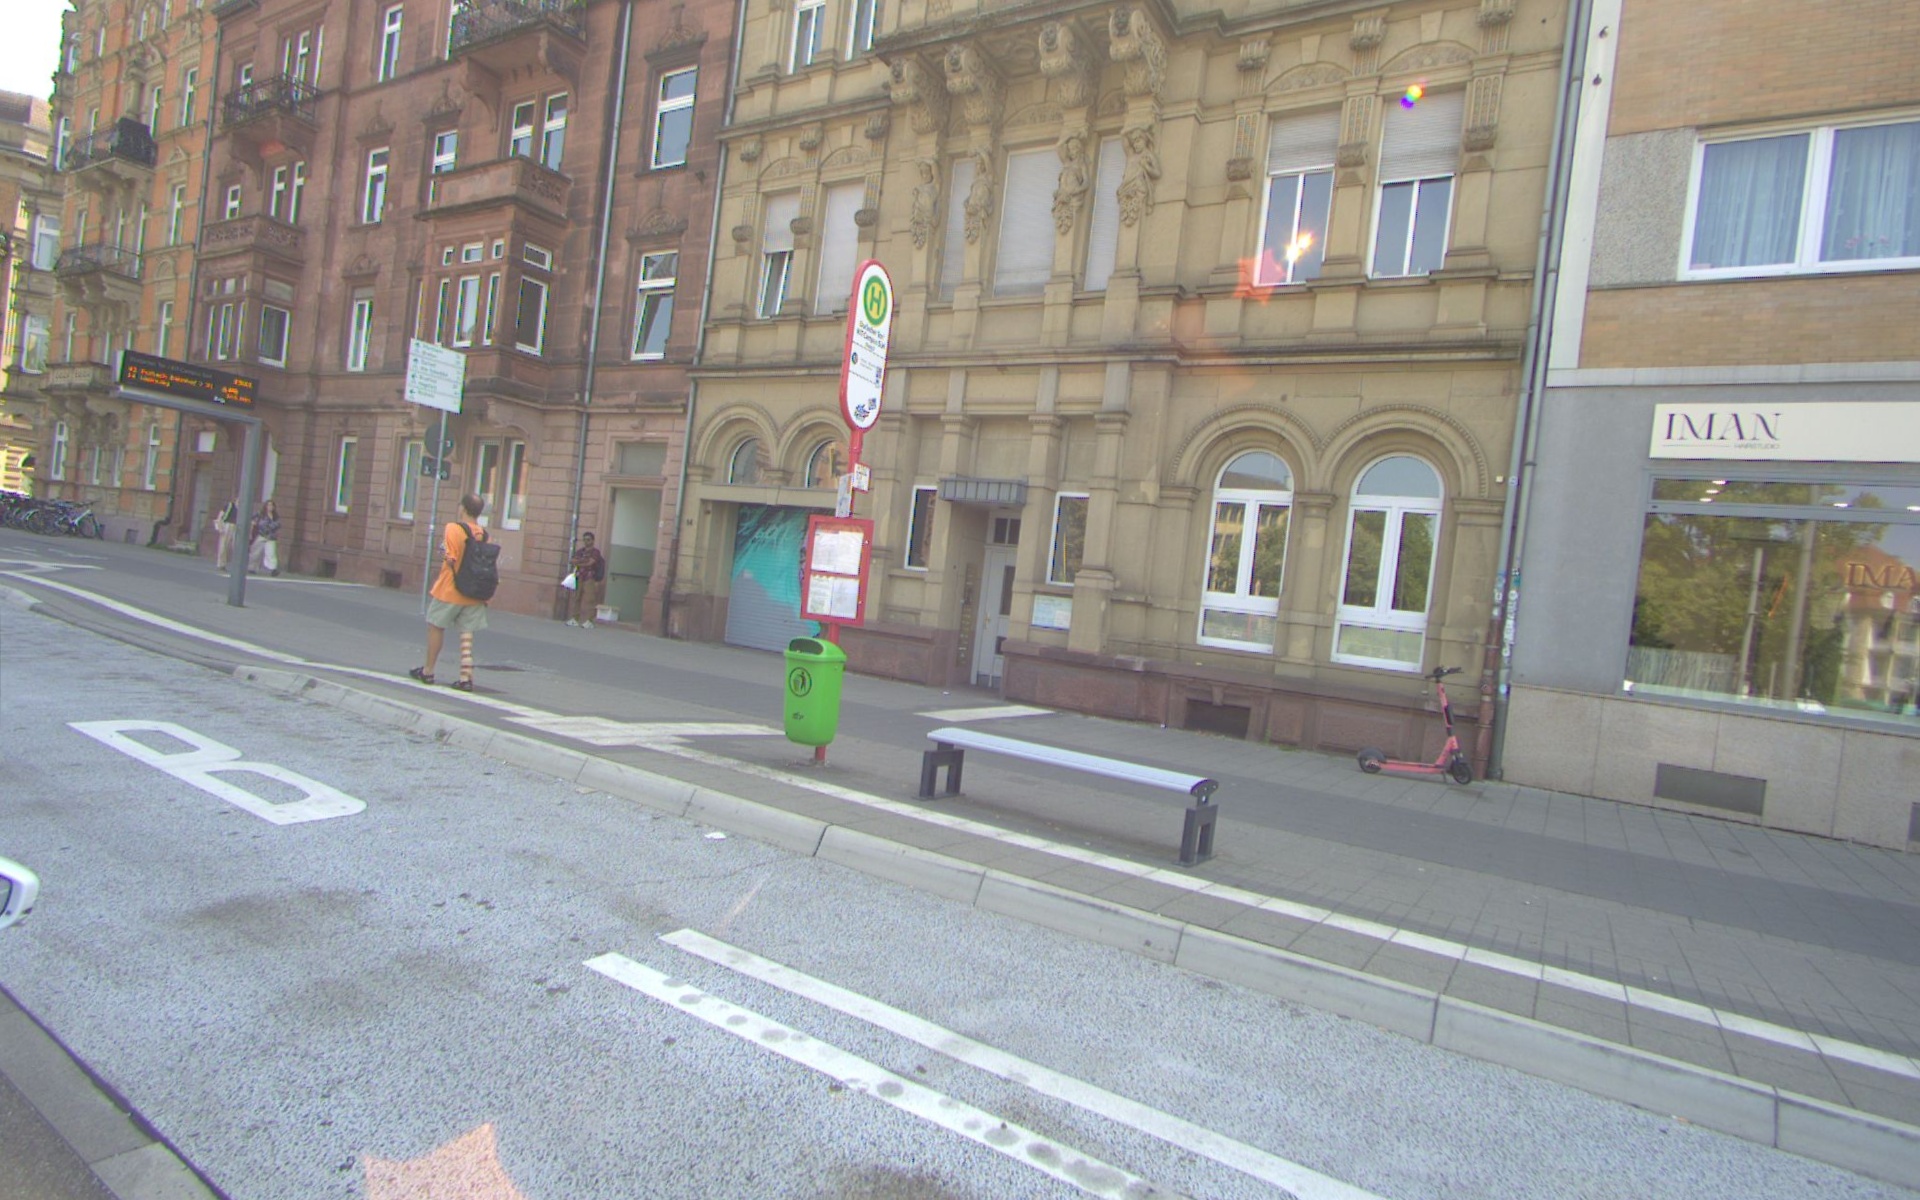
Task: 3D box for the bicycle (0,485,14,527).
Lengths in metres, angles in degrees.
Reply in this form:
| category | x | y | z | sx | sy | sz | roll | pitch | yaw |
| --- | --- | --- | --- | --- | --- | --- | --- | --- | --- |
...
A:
| category | x | y | z | sx | sy | sz | roll | pitch | yaw |
| --- | --- | --- | --- | --- | --- | --- | --- | --- | --- |
| bicycle | -33.970 | -3.368 | 33.788 | 0.932 | 1.390 | 3.007 | 7 | 0 | 31 |

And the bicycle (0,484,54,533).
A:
| category | x | y | z | sx | sy | sz | roll | pitch | yaw |
| --- | --- | --- | --- | --- | --- | --- | --- | --- | --- |
| bicycle | -31.110 | -3.063 | 32.139 | 0.932 | 1.390 | 3.007 | 7 | 0 | 31 |

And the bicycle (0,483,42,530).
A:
| category | x | y | z | sx | sy | sz | roll | pitch | yaw |
| --- | --- | --- | --- | --- | --- | --- | --- | --- | --- |
| bicycle | -31.966 | -3.189 | 32.630 | 0.932 | 1.390 | 3.007 | 7 | 0 | 31 |

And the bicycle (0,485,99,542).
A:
| category | x | y | z | sx | sy | sz | roll | pitch | yaw |
| --- | --- | --- | --- | --- | --- | --- | --- | --- | --- |
| bicycle | -27.879 | -2.634 | 30.119 | 0.857 | 1.388 | 2.997 | 7 | 0 | 31 |

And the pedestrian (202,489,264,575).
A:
| category | x | y | z | sx | sy | sz | roll | pitch | yaw |
| --- | --- | --- | --- | --- | --- | --- | --- | --- | --- |
| pedestrian | -16.400 | -1.528 | 22.693 | 0.833 | 1.798 | 0.715 | 7 | 1 | 31 |

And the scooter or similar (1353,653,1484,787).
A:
| category | x | y | z | sx | sy | sz | roll | pitch | yaw |
| --- | --- | --- | --- | --- | --- | --- | --- | --- | --- |
| scooter or similar | 4.882 | 1.253 | 10.730 | 1.122 | 1.228 | 0.476 | 7 | 1 | 27 |

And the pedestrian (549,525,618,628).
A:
| category | x | y | z | sx | sy | sz | roll | pitch | yaw |
| --- | --- | --- | --- | --- | --- | --- | --- | --- | --- |
| pedestrian | -7.038 | -0.423 | 18.830 | 0.729 | 1.800 | 0.870 | 7 | 1 | 4 |

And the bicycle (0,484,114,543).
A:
| category | x | y | z | sx | sy | sz | roll | pitch | yaw |
| --- | --- | --- | --- | --- | --- | --- | --- | --- | --- |
| bicycle | -27.076 | -2.565 | 29.728 | 0.857 | 1.388 | 2.997 | 7 | 0 | 31 |

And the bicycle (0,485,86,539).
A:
| category | x | y | z | sx | sy | sz | roll | pitch | yaw |
| --- | --- | --- | --- | --- | --- | --- | --- | --- | --- |
| bicycle | -28.656 | -2.733 | 30.559 | 0.857 | 1.388 | 2.997 | 7 | 0 | 31 |

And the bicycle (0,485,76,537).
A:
| category | x | y | z | sx | sy | sz | roll | pitch | yaw |
| --- | --- | --- | --- | --- | --- | --- | --- | --- | --- |
| bicycle | -29.428 | -2.836 | 31.071 | 0.857 | 1.388 | 2.997 | 7 | 0 | 31 |

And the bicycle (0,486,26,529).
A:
| category | x | y | z | sx | sy | sz | roll | pitch | yaw |
| --- | --- | --- | --- | --- | --- | --- | --- | --- | --- |
| bicycle | -33.087 | -3.246 | 33.282 | 0.932 | 1.390 | 3.007 | 7 | 0 | 31 |

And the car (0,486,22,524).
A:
| category | x | y | z | sx | sy | sz | roll | pitch | yaw |
| --- | --- | --- | --- | --- | --- | --- | --- | --- | --- |
| car | -42.004 | -4.236 | 41.873 | 1.652 | 1.539 | 3.942 | 7 | 0 | 24 |

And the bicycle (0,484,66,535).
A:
| category | x | y | z | sx | sy | sz | roll | pitch | yaw |
| --- | --- | --- | --- | --- | --- | --- | --- | --- | --- |
| bicycle | -30.209 | -2.951 | 31.561 | 0.932 | 1.390 | 3.007 | 7 | 0 | 31 |

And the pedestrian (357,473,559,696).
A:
| category | x | y | z | sx | sy | sz | roll | pitch | yaw |
| --- | --- | --- | --- | --- | --- | --- | --- | --- | --- |
| pedestrian | -4.374 | -0.129 | 8.764 | 1.220 | 1.762 | 0.964 | 7 | 0 | 36 |

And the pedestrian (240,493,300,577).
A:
| category | x | y | z | sx | sy | sz | roll | pitch | yaw |
| --- | --- | --- | --- | --- | --- | --- | --- | --- | --- |
| pedestrian | -15.998 | -1.510 | 23.320 | 0.856 | 1.800 | 0.715 | 7 | 1 | 30 |
